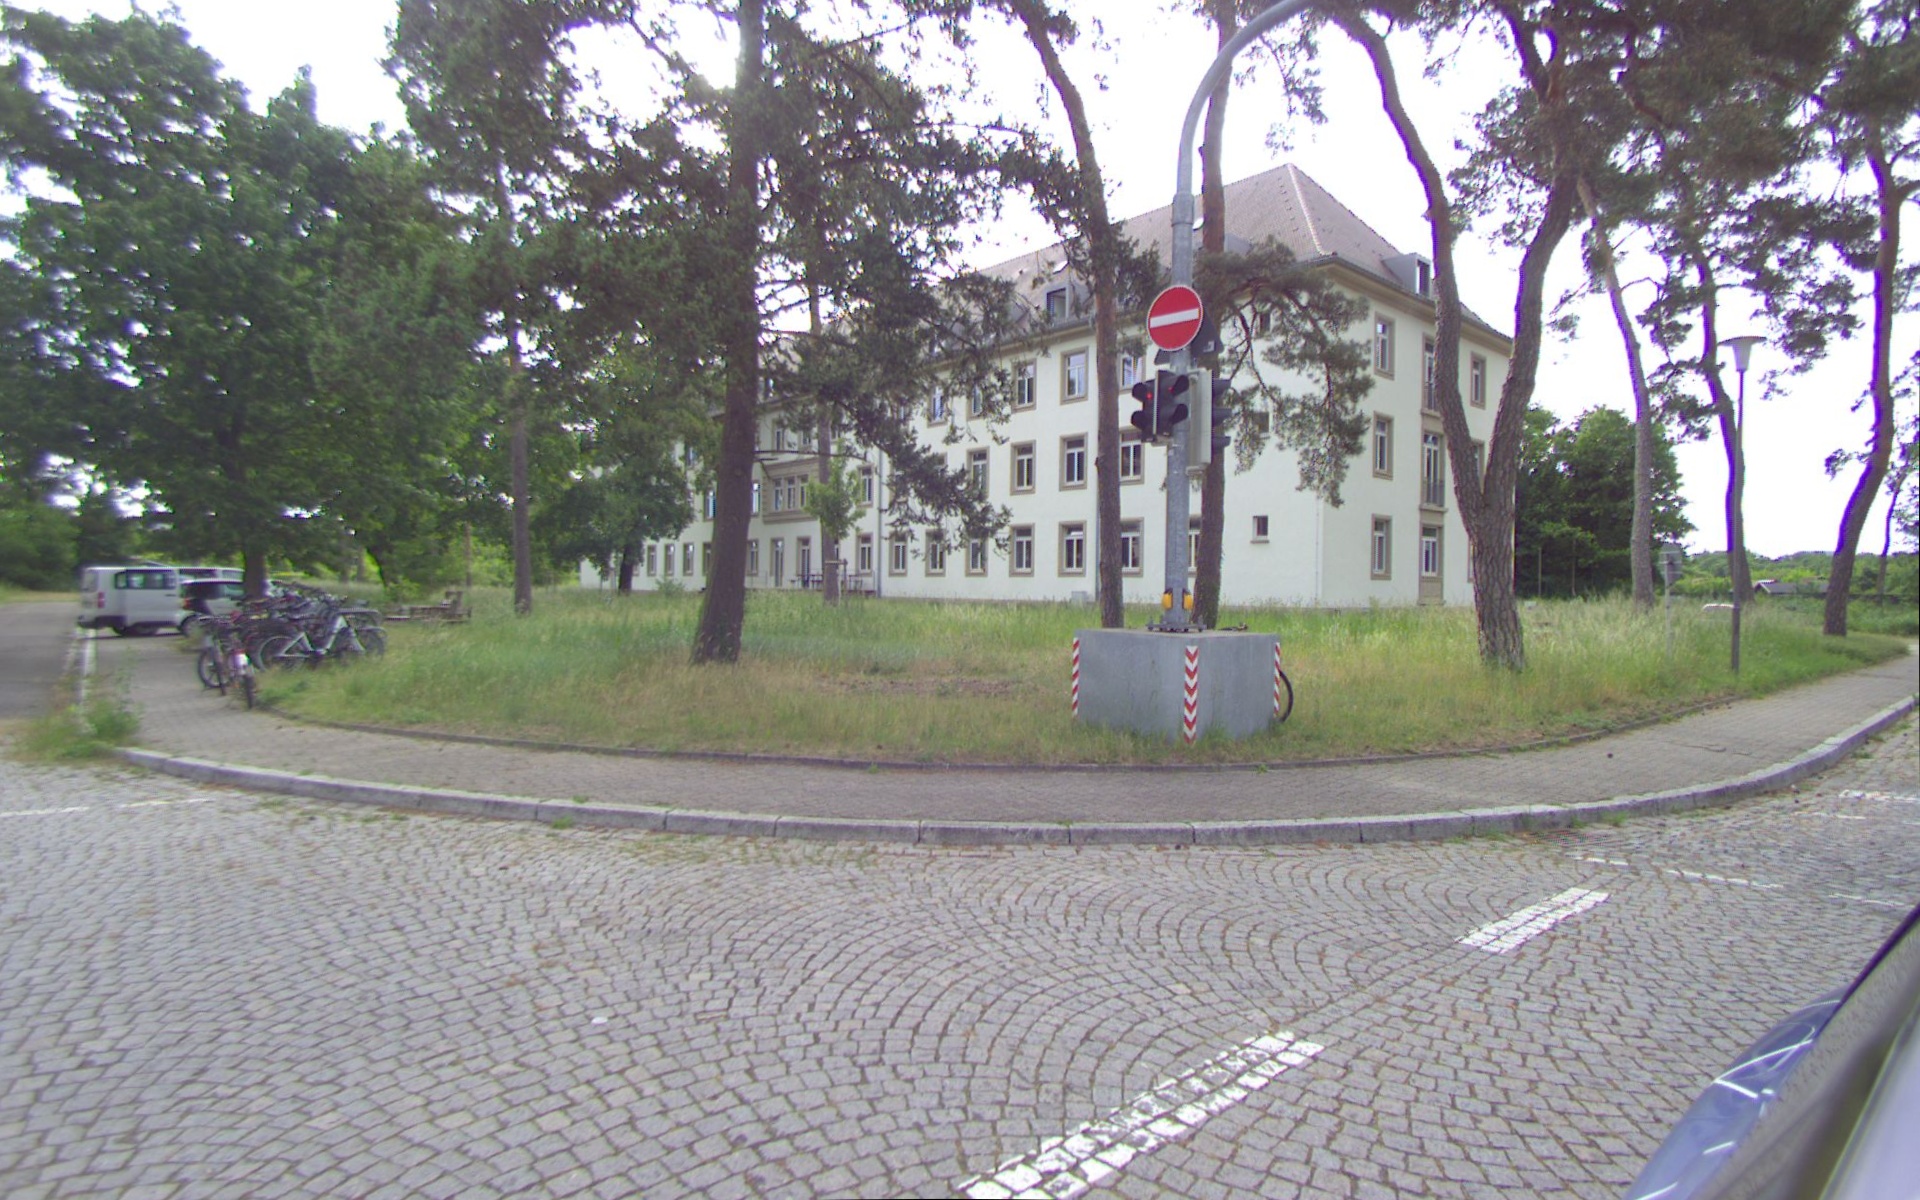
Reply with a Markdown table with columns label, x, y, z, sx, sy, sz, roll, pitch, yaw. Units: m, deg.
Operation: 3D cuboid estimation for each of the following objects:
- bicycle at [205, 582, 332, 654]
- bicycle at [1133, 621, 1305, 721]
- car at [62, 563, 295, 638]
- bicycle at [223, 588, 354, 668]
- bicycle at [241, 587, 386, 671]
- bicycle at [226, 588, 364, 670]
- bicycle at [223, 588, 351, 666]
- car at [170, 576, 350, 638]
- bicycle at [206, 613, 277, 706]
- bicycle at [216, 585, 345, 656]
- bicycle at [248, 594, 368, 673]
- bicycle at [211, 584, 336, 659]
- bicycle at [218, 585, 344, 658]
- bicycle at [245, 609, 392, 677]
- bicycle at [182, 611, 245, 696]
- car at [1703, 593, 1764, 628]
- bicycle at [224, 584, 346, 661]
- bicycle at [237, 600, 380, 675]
| label | x | y | z | sx | sy | sz | roll | pitch | yaw |
| --- | --- | --- | --- | --- | --- | --- | --- | --- | --- |
| bicycle | -13.884 | 0.341 | 20.365 | 2.063 | 1.384 | 0.760 | 0 | 1 | -36 |
| bicycle | 2.638 | 0.688 | 10.449 | 0.563 | 0.885 | 1.703 | 0 | 1 | -40 |
| car | -22.023 | -0.028 | 28.731 | 2.224 | 1.934 | 4.805 | 1 | 1 | 33 |
| bicycle | -11.711 | 0.465 | 17.693 | 1.884 | 1.336 | 0.507 | 0 | 0 | -36 |
| bicycle | -10.800 | 0.462 | 16.952 | 2.009 | 1.336 | 0.439 | 0 | 0 | -36 |
| bicycle | -11.312 | 0.464 | 17.258 | 1.938 | 1.336 | 0.578 | 0 | 0 | -36 |
| bicycle | -11.984 | 0.463 | 18.055 | 1.882 | 1.336 | 0.392 | 0 | 0 | -36 |
| car | -18.767 | 0.145 | 27.200 | 3.861 | 1.549 | 1.860 | 0 | 1 | -40 |
| bicycle | -8.628 | 0.678 | 12.130 | 0.521 | 0.992 | 1.623 | 0 | 1 | -42 |
| bicycle | -13.333 | 0.385 | 19.902 | 2.092 | 1.336 | 0.556 | 0 | 0 | -36 |
| bicycle | -10.589 | 0.524 | 16.462 | 1.608 | 1.231 | 0.543 | 0 | 0 | -36 |
| bicycle | -12.778 | 0.384 | 18.876 | 1.902 | 1.336 | 0.555 | 0 | 0 | -36 |
| bicycle | -13.013 | 0.386 | 19.425 | 1.977 | 1.336 | 0.542 | 0 | 0 | -36 |
| bicycle | -9.803 | 0.639 | 15.510 | 1.866 | 0.961 | 0.543 | 0 | 0 | -37 |
| bicycle | -9.877 | 0.674 | 13.367 | 0.533 | 1.027 | 1.538 | 0 | 1 | -42 |
| car | 35.949 | 0.451 | 47.006 | 3.222 | 1.451 | 1.639 | -3 | 3 | -41 |
| bicycle | -12.306 | 0.385 | 18.479 | 1.818 | 1.336 | 0.557 | 0 | 0 | -36 |
| bicycle | -10.265 | 0.568 | 15.974 | 1.866 | 1.115 | 0.543 | 0 | 0 | -36 |
